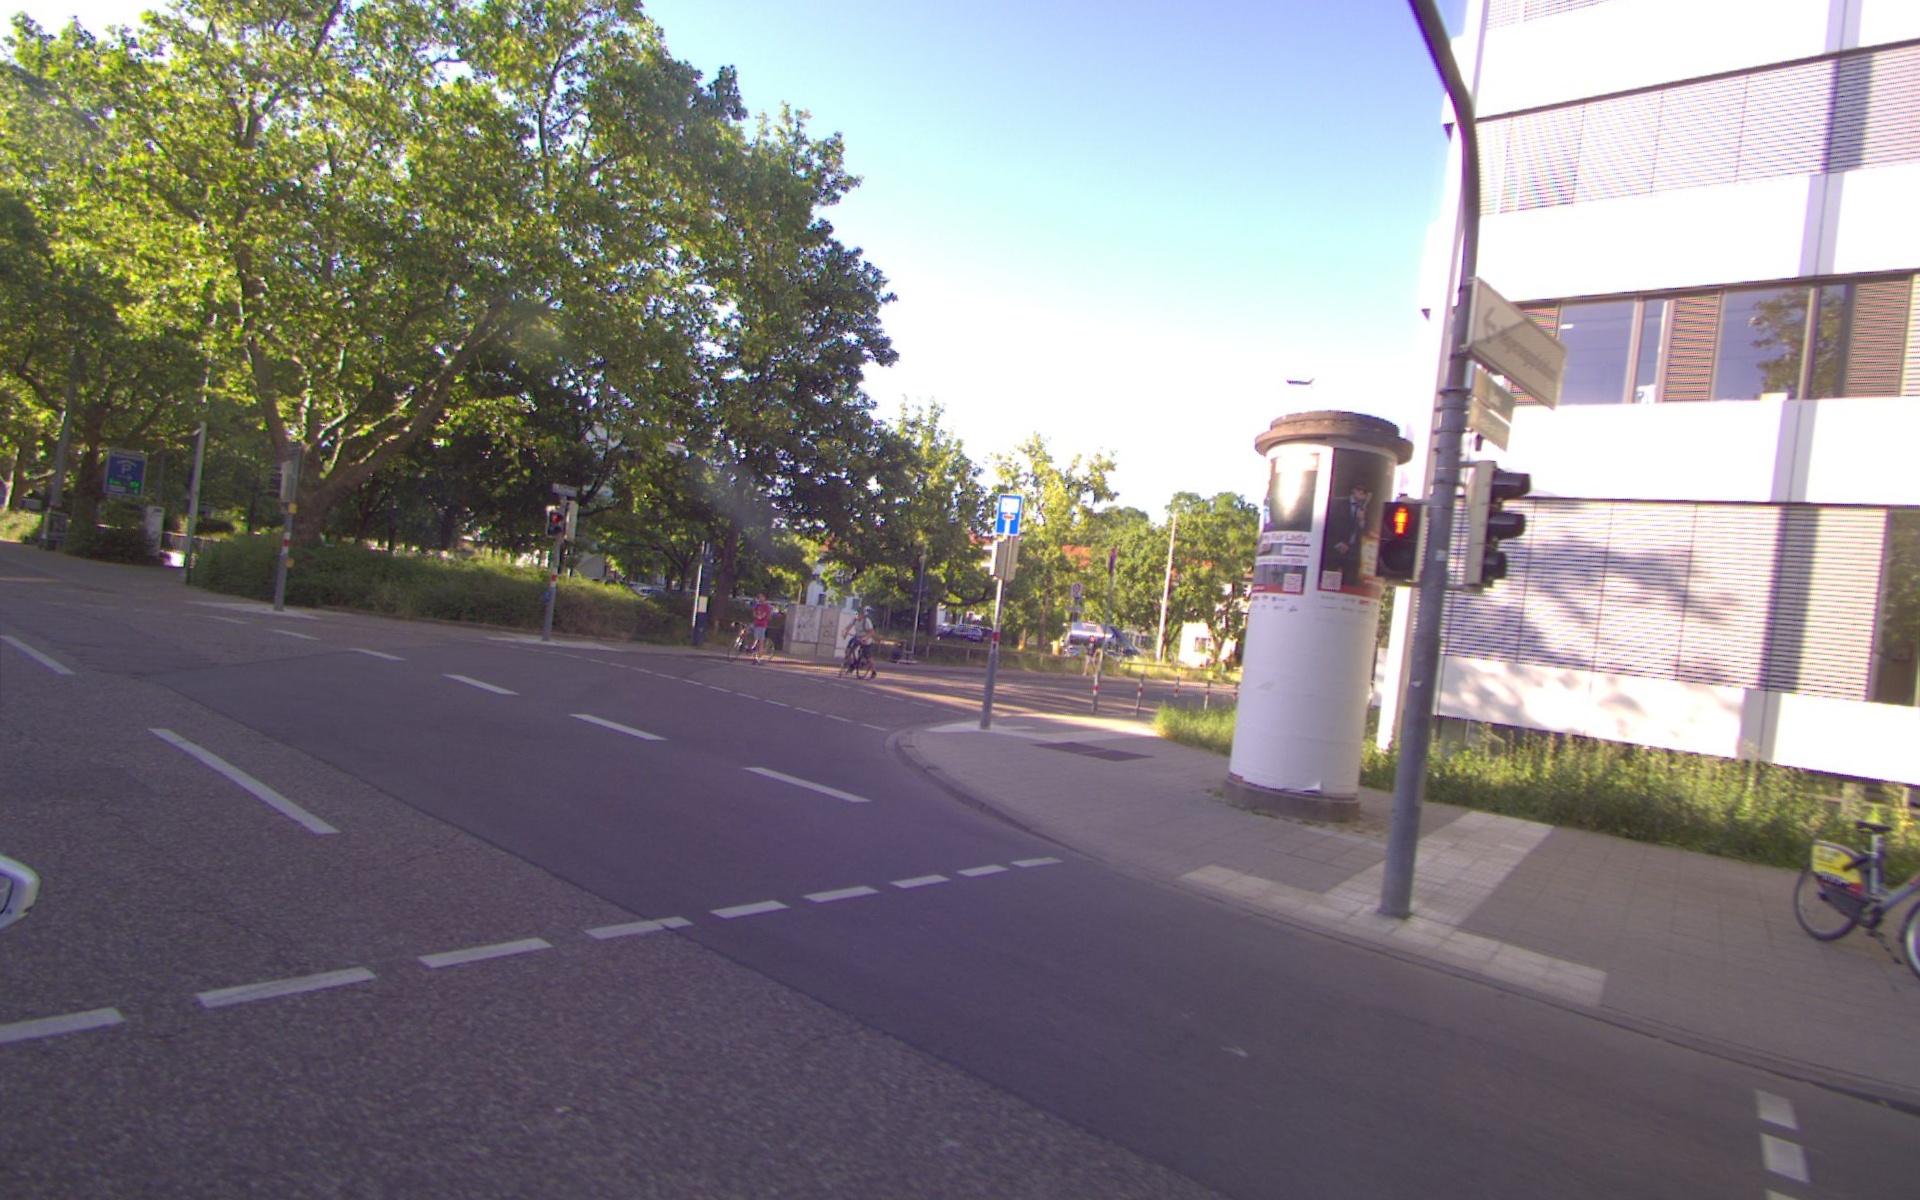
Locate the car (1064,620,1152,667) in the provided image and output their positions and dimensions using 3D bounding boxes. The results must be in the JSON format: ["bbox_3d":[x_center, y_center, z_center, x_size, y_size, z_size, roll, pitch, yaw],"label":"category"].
[{"bbox_3d":[8.685,2.568,59.013,4.489,2.138,1.998,6,-1,30],"label":"car"}]

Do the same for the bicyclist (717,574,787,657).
[{"bbox_3d":[-5.066,0.383,24.500,0.962,1.829,1.129,6,-1,34],"label":"bicyclist"}]

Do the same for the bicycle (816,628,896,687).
[{"bbox_3d":[-2.339,1.242,22.311,0.969,1.064,2.648,7,-2,-22],"label":"bicycle"}]

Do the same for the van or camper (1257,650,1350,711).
[{"bbox_3d":[13.782,3.256,40.173,2.128,2.037,4.966,7,-1,34],"label":"van or camper"}]

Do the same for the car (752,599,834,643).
[{"bbox_3d":[-8.924,1.109,53.640,3.939,1.800,1.995,6,-2,37],"label":"car"}]

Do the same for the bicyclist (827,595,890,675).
[{"bbox_3d":[-2.252,0.764,22.240,0.940,1.565,1.120,7,1,-22],"label":"bicyclist"}]

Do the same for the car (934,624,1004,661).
[{"bbox_3d":[0.591,2.744,65.058,3.939,1.800,1.995,6,-2,37],"label":"car"}]

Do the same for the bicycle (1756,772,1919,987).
[{"bbox_3d":[6.574,1.963,7.067,0.461,1.196,1.995,6,-1,7],"label":"bicycle"}]

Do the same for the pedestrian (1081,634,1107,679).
[{"bbox_3d":[5.892,2.507,44.324,0.656,1.877,1.025,7,-1,25],"label":"pedestrian"}]

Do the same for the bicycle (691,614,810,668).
[{"bbox_3d":[-5.066,1.034,24.644,0.927,1.050,3.001,6,-2,33],"label":"bicycle"}]

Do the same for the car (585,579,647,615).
[{"bbox_3d":[-21.724,-0.205,63.437,3.948,1.800,1.990,6,-2,44],"label":"car"}]
